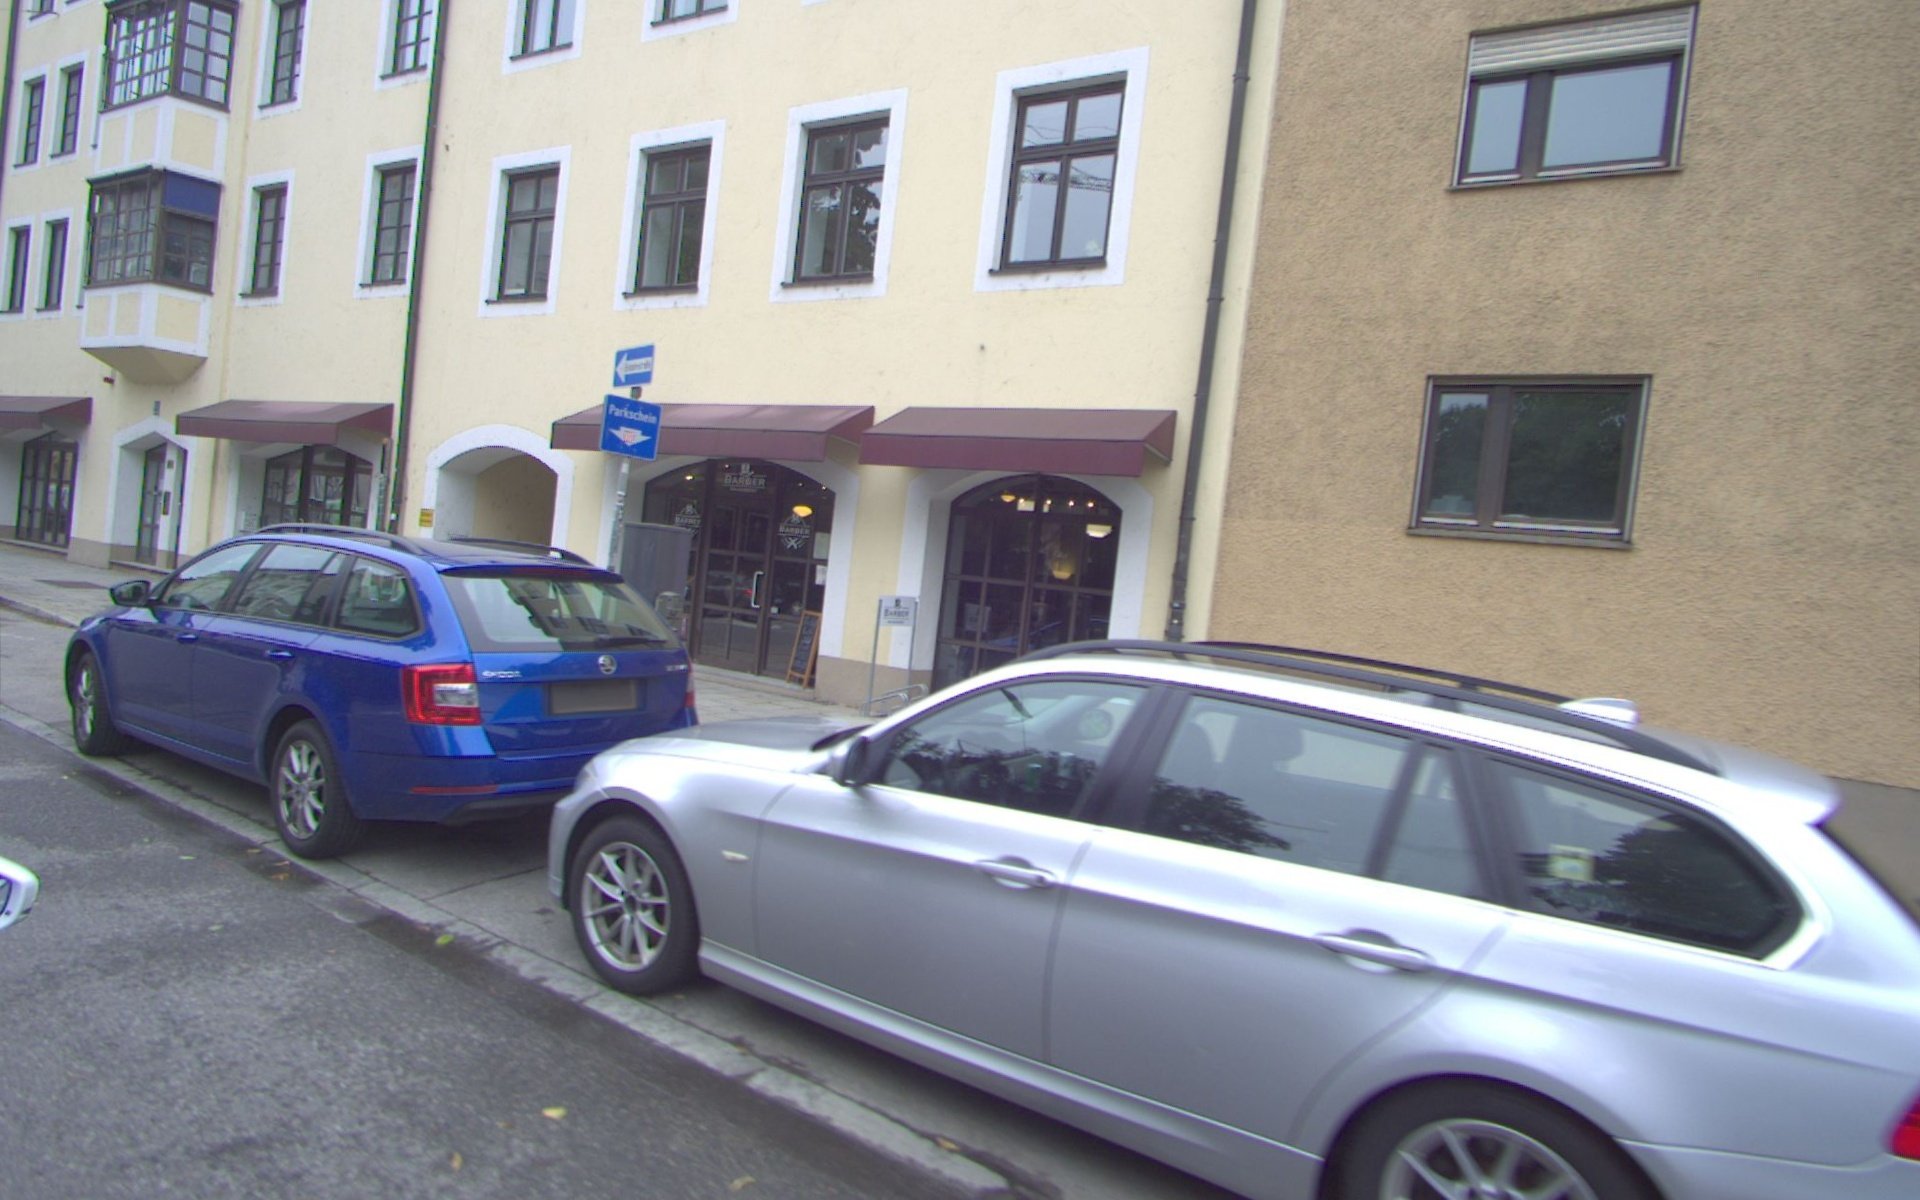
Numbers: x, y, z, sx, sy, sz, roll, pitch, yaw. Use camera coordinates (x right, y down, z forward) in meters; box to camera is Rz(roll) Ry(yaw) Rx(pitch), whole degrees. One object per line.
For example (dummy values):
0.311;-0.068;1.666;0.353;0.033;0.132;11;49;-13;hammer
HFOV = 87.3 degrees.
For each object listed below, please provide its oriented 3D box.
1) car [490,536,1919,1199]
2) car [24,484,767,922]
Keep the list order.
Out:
0.577;0.765;3.344;4.360;1.516;1.691;7;2;32;car
-3.405;0.301;5.770;4.413;1.516;1.757;7;2;32;car
